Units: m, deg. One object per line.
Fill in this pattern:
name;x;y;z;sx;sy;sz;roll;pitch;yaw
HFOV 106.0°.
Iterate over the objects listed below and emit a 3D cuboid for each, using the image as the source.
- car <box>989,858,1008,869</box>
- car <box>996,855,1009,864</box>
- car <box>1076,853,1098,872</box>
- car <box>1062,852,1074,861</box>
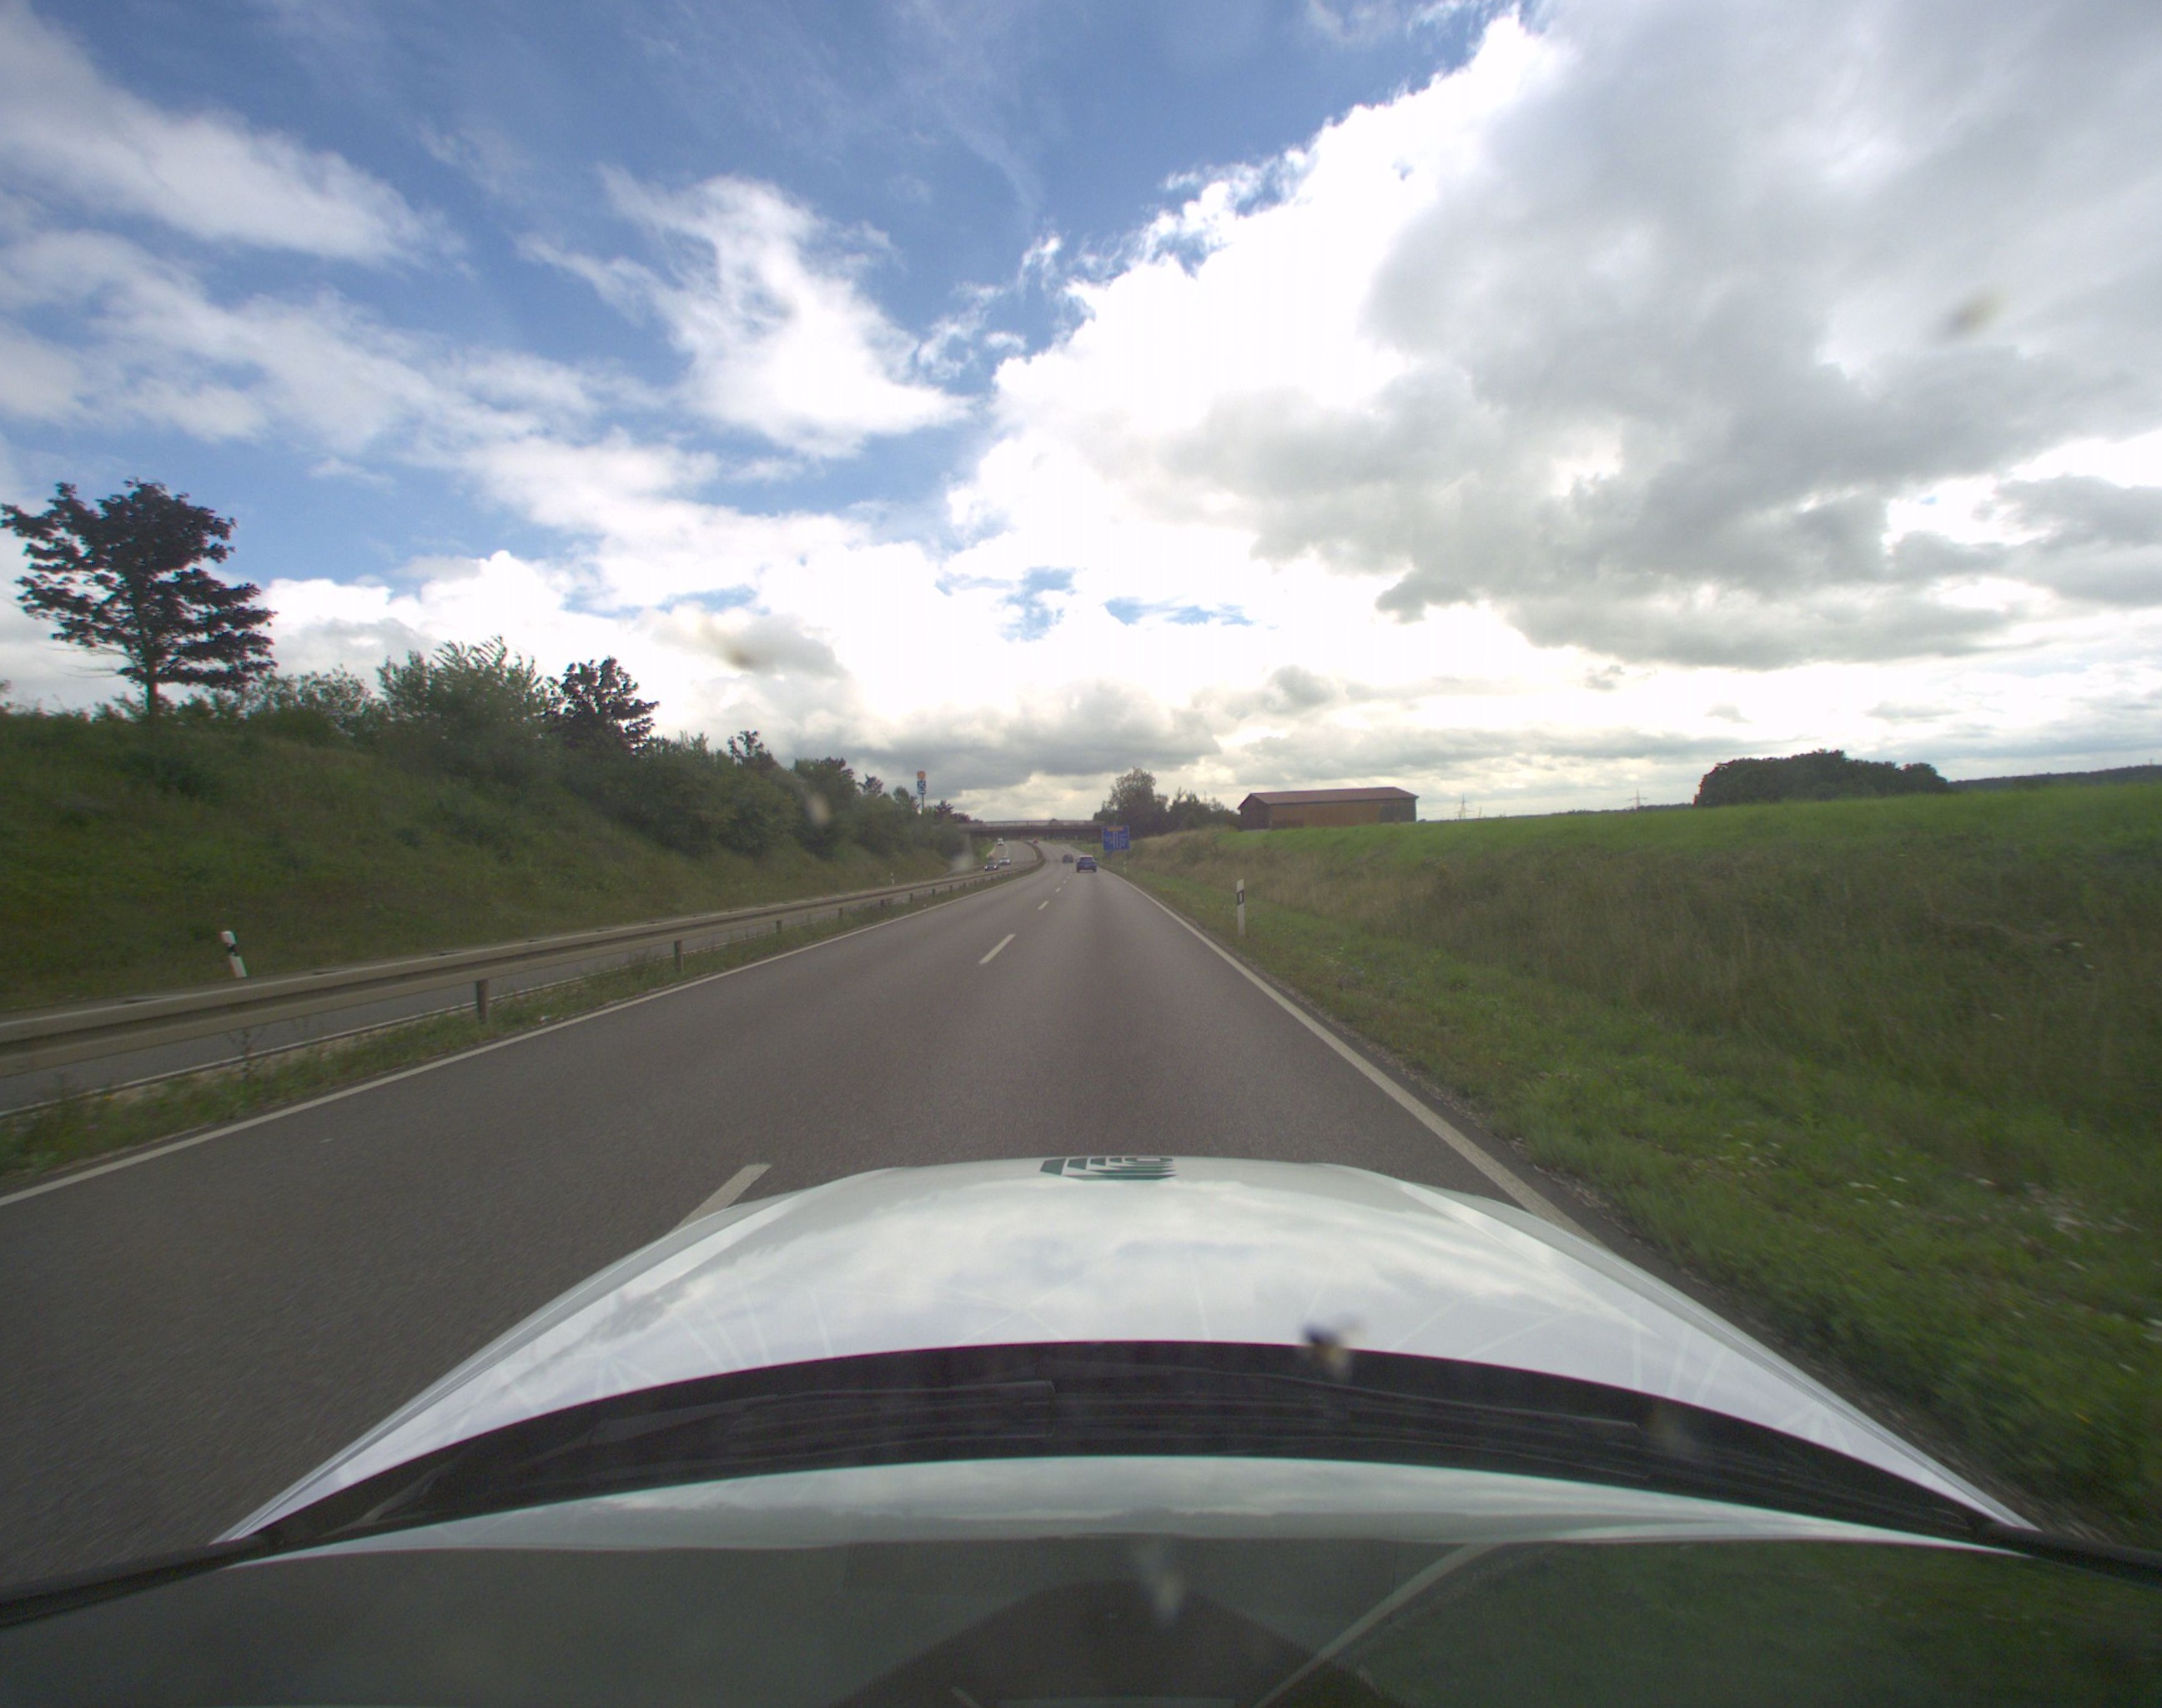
car;-10.933;1.300;108.320;1.987;1.304;4.822;-3;0;0
car;-14.204;0.969;147.981;1.987;1.453;3.999;-3;1;0
car;0.559;0.800;79.888;2.027;1.660;4.542;-1;1;-1
car;-2.258;0.389;140.409;1.912;1.453;4.361;-3;1;-2
